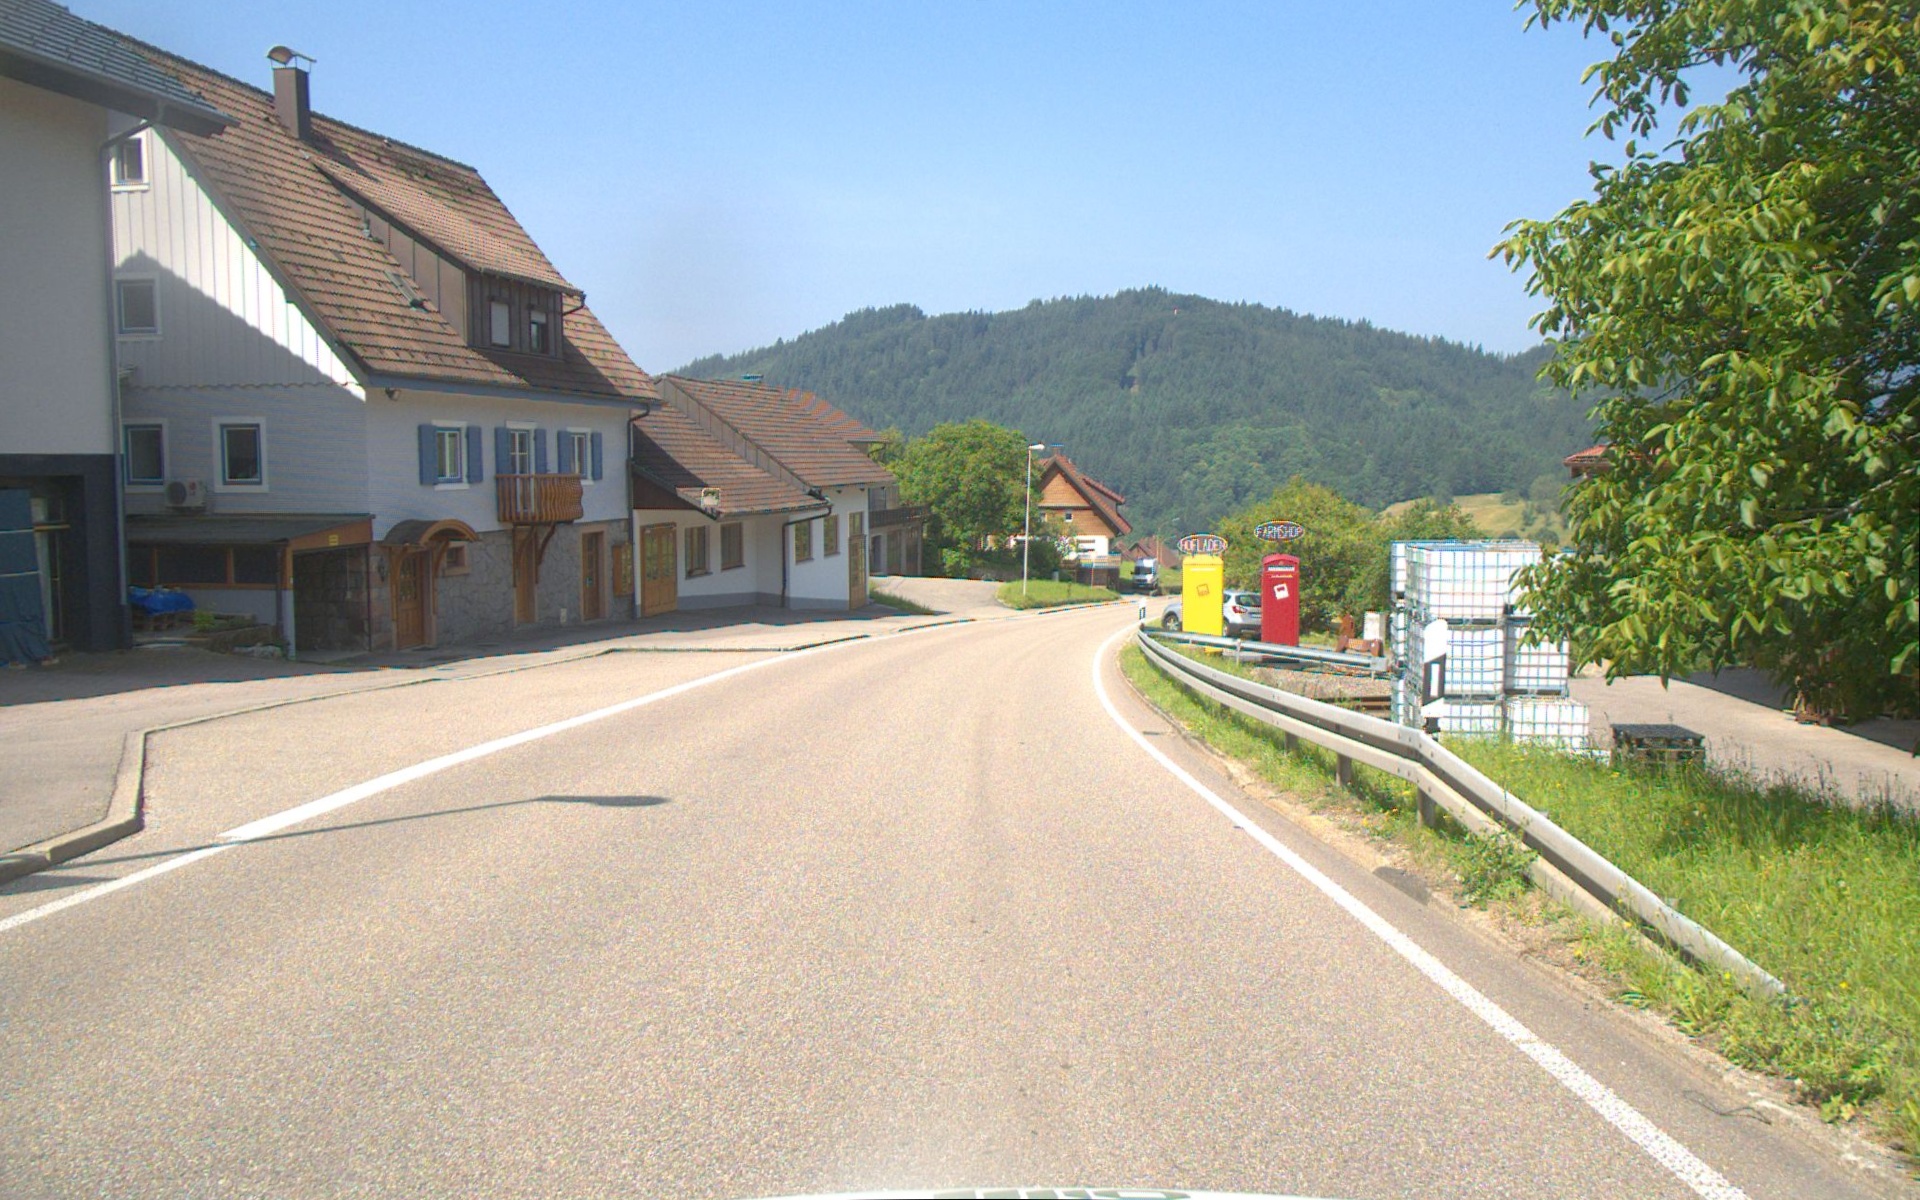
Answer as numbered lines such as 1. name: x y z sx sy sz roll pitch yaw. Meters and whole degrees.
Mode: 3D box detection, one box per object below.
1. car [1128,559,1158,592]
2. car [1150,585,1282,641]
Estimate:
1. car: 17.228 -2.330 155.405 2.023 2.734 7.183 1 4 12
2. car: 8.349 0.396 54.307 1.881 1.598 4.414 1 2 -32
